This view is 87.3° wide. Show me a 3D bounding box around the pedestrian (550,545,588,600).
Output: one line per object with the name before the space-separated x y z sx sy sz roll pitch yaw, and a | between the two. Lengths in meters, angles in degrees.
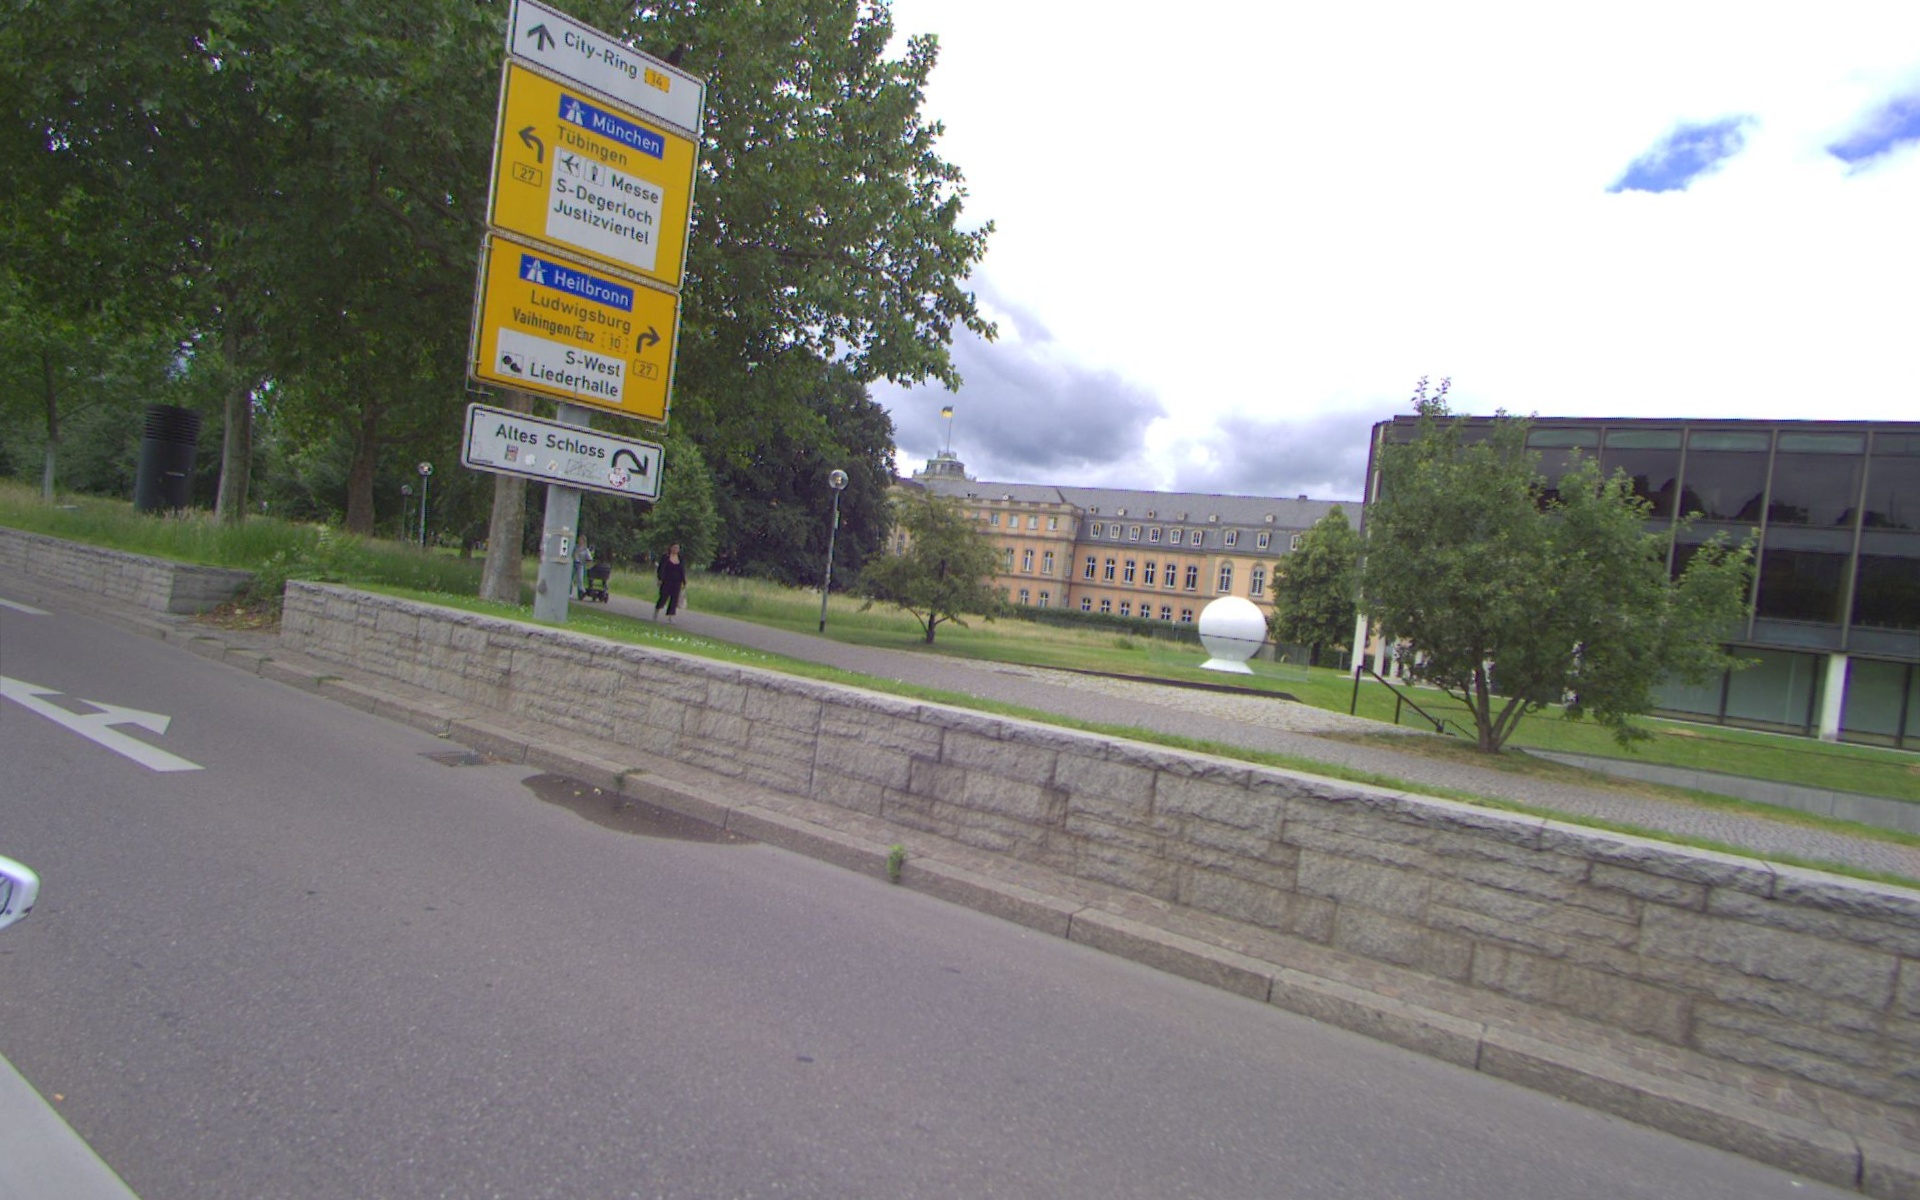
pedestrian | -10.314 -0.717 26.529 0.533 1.339 0.583 5 -3 31

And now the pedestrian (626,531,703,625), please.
pedestrian | -6.090 -0.452 20.787 0.953 1.752 0.898 7 -2 31

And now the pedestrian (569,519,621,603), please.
pedestrian | -9.375 -1.006 25.847 0.917 2.036 0.571 6 -2 31

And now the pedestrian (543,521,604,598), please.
pedestrian | -10.180 -1.072 26.499 0.994 1.856 1.017 10 -3 -43
